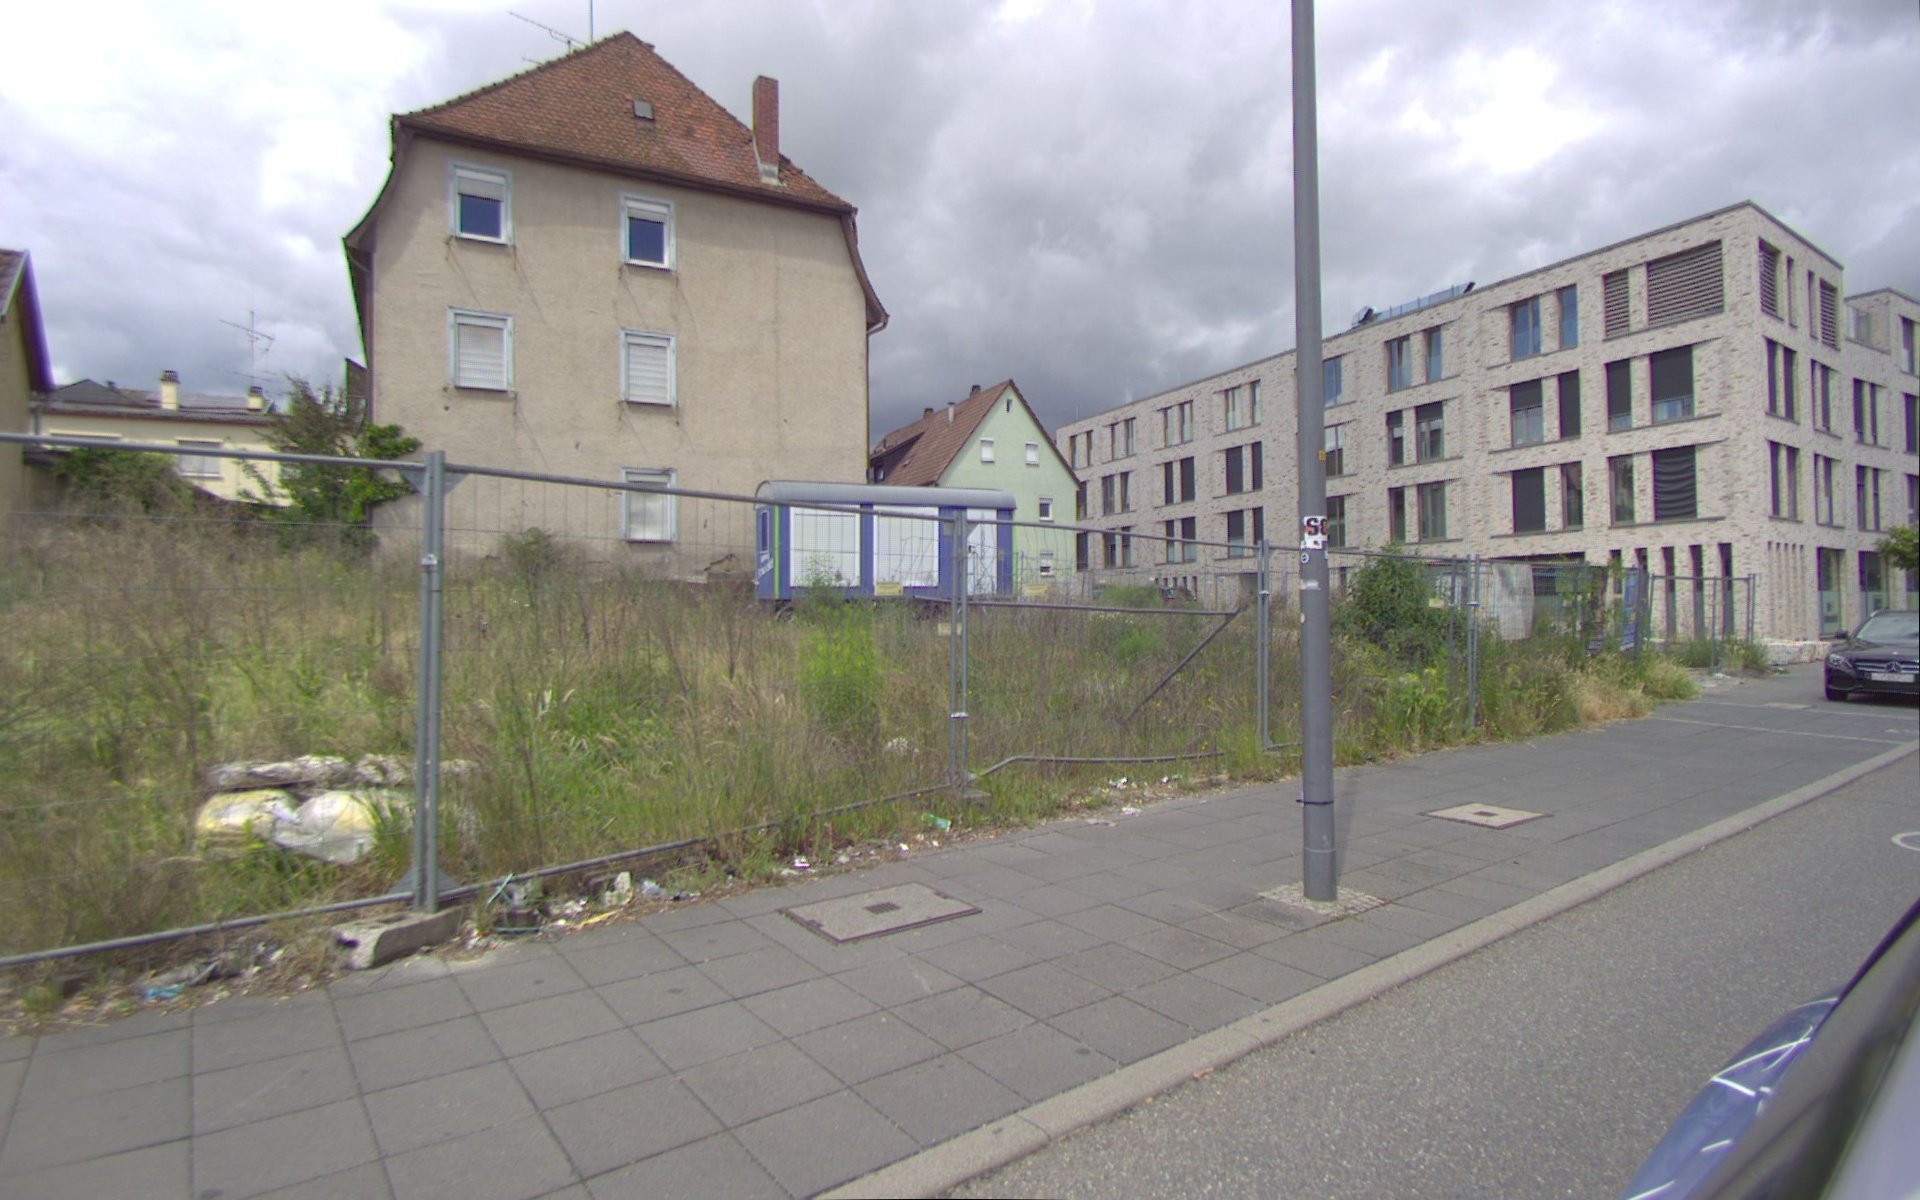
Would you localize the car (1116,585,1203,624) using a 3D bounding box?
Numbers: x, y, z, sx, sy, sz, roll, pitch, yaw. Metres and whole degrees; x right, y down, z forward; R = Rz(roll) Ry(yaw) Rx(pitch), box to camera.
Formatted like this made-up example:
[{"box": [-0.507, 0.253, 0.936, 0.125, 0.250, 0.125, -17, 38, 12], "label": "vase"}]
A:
[{"box": [9.162, 0.184, 46.819, 1.830, 1.626, 4.270, 1, 1, -23], "label": "car"}]

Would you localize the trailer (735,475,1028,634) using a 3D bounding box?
[{"box": [-1.718, -0.913, 22.434, 6.032, 3.162, 2.416, 0, 0, -24], "label": "trailer"}]

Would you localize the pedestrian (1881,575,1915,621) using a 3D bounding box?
[{"box": [30.908, -0.051, 33.331, 0.775, 1.491, 0.610, 0, -1, -29], "label": "pedestrian"}]

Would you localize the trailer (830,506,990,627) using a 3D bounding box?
[{"box": [-1.648, -0.896, 29.675, 2.363, 3.162, 6.169, 0, 0, -27], "label": "trailer"}]

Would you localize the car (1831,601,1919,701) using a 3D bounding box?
[{"box": [15.732, 0.760, 16.364, 4.395, 1.470, 1.786, 0, 0, -39], "label": "car"}]
